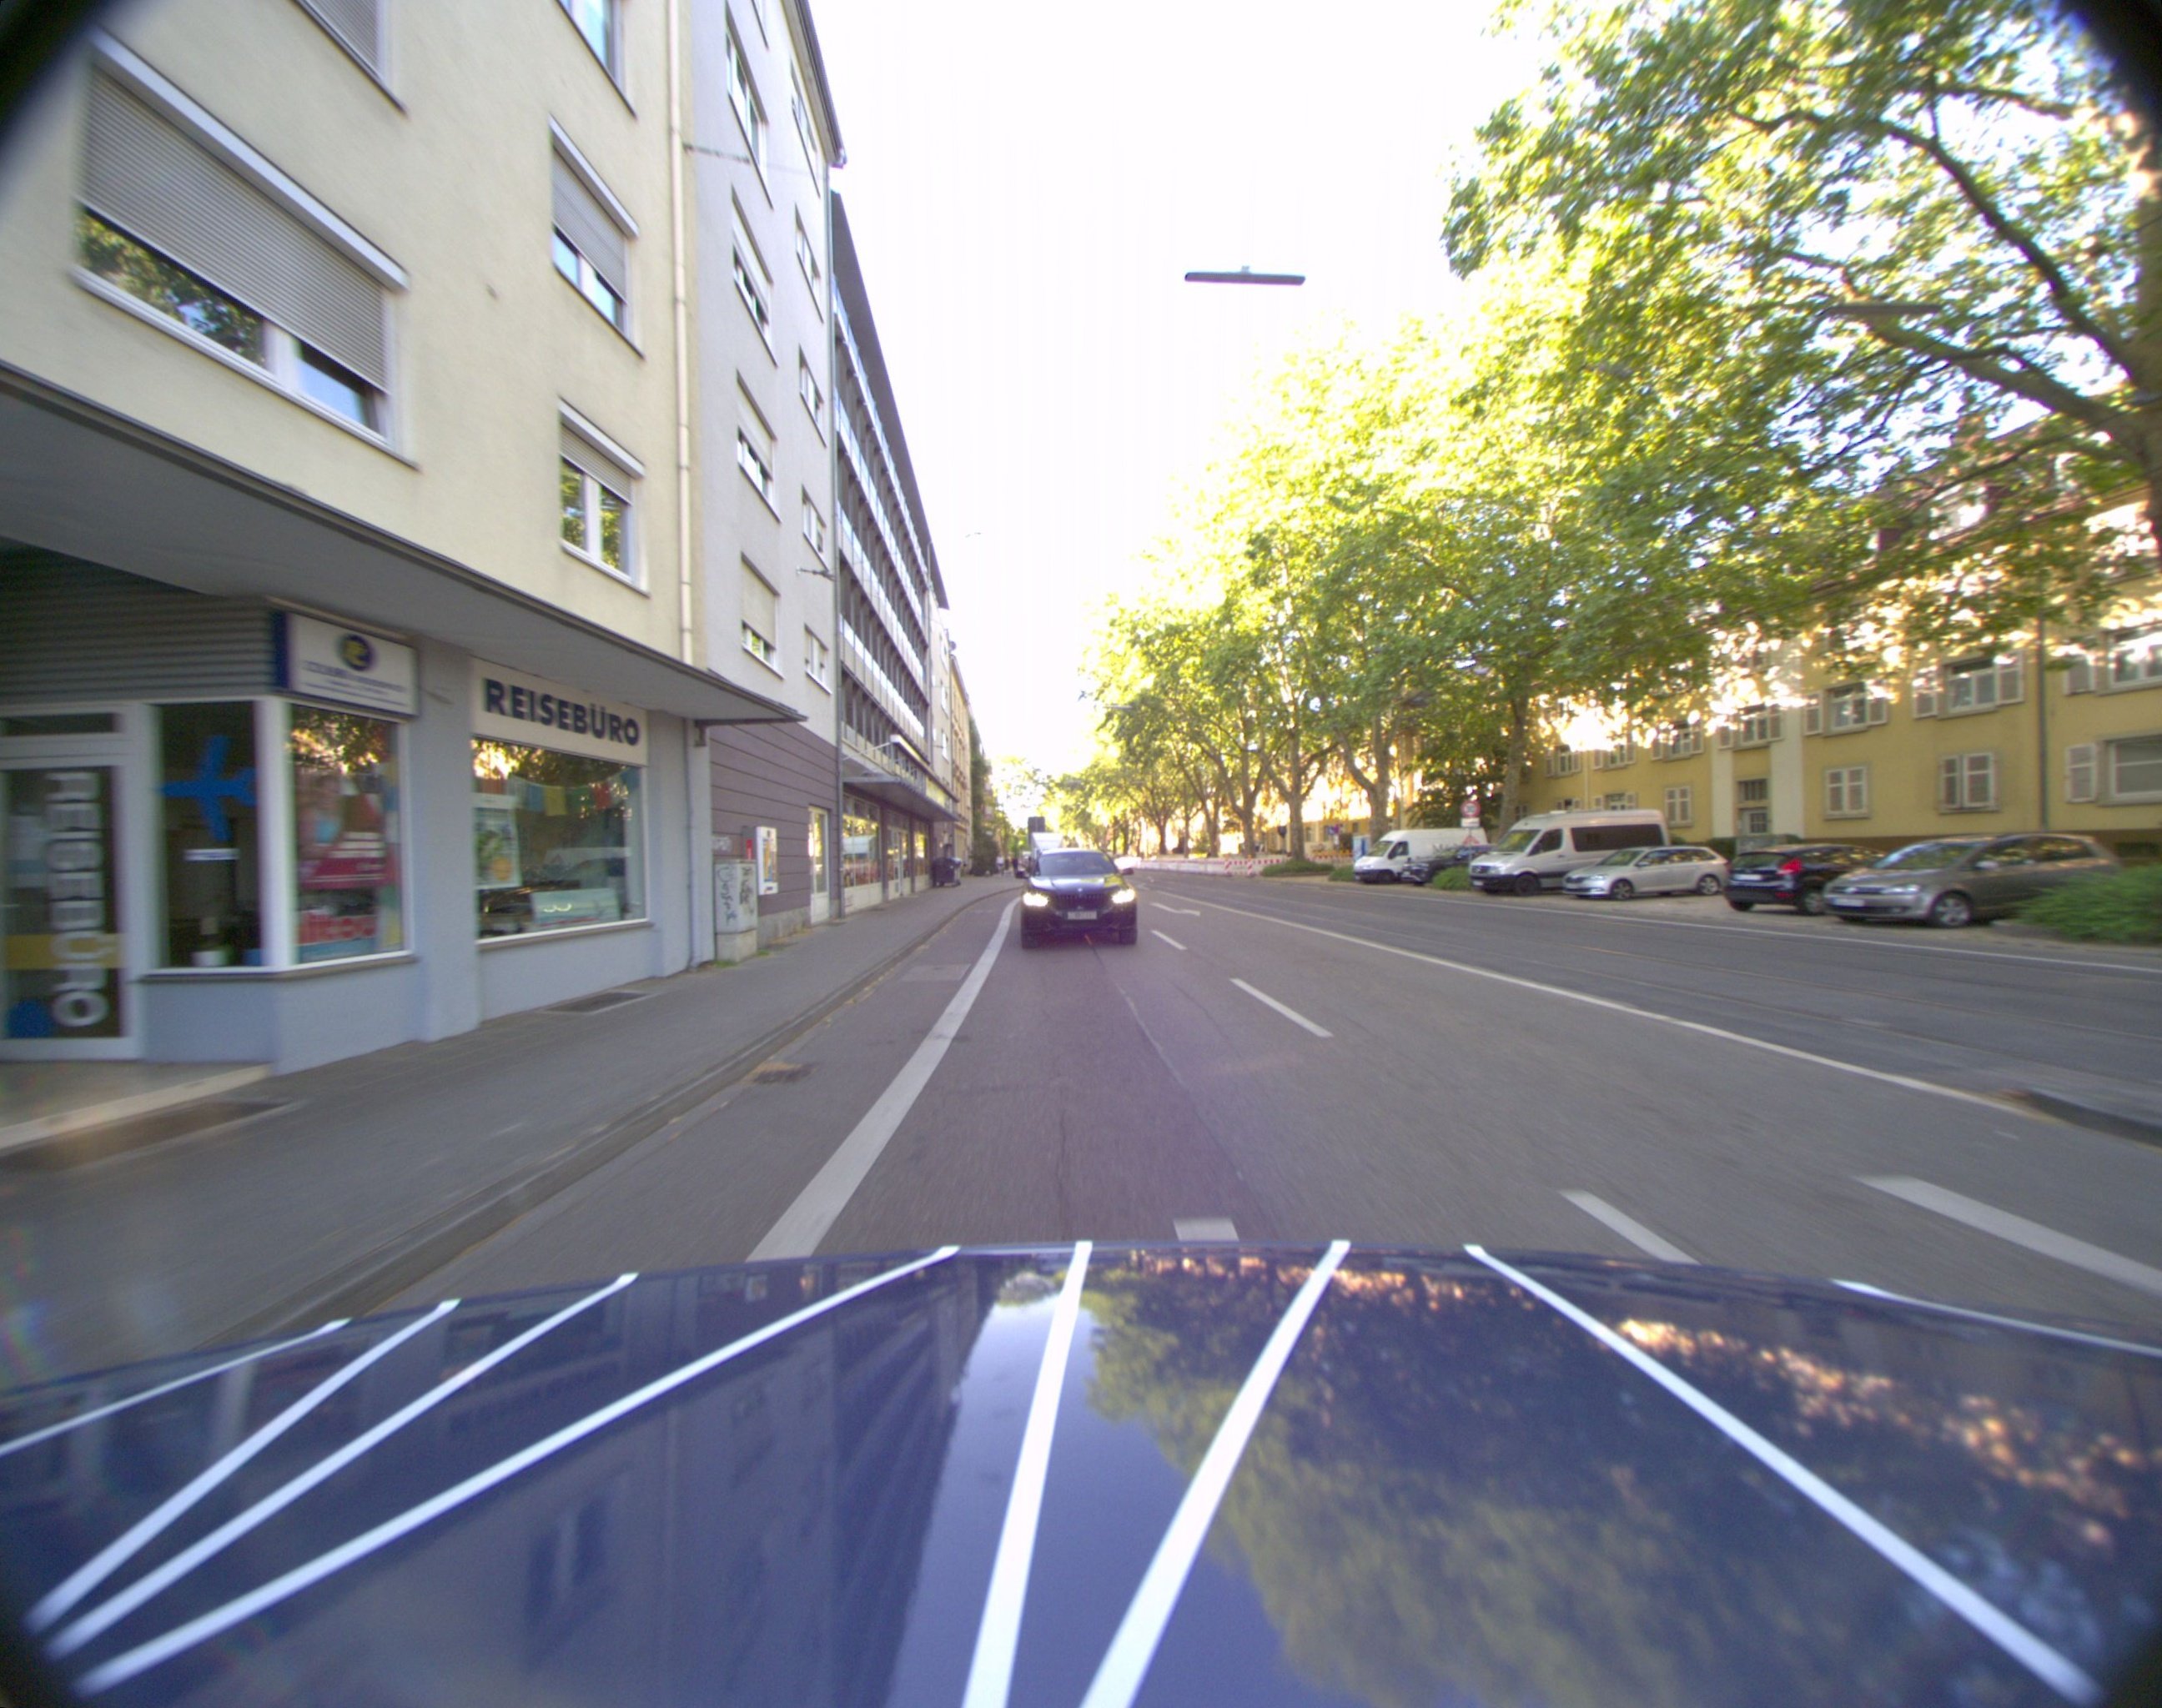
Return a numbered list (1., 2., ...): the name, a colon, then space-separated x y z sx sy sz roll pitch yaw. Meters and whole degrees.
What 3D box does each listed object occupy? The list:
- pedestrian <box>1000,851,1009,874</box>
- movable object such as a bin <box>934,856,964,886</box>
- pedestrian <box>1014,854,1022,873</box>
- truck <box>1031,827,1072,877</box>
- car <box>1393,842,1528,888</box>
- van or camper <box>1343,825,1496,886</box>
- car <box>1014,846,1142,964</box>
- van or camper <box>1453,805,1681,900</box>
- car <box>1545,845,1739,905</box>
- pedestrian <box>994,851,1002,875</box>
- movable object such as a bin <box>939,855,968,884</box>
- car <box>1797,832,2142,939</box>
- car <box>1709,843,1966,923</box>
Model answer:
1. pedestrian: -5.456 0.605 53.982 0.541 1.662 0.630 -1 1 -2
2. movable object such as a bin: -6.345 0.808 36.499 1.204 1.402 1.371 -1 0 -2
3. pedestrian: -4.865 0.738 58.372 0.541 1.437 0.630 -1 1 -2
4. truck: -2.083 -0.160 51.960 2.344 3.096 5.209 -3 1 -6
5. car: 15.142 0.414 30.465 4.540 1.624 1.693 -3 1 -1
6. van or camper: 14.890 0.039 33.602 5.764 2.371 2.155 -3 1 -3
7. car: -0.092 0.768 14.265 1.931 1.742 4.682 -3 1 -1
8. van or camper: 15.401 -0.077 24.274 5.933 2.633 2.155 -3 1 -3
9. car: 15.833 0.550 21.571 4.277 1.438 1.693 -3 1 -1
10. pedestrian: -6.122 0.660 56.099 0.541 1.712 0.630 -1 1 -2
11. movable object such as a bin: -6.451 0.778 38.495 1.204 1.402 1.371 -1 0 -2
12. car: 15.690 0.512 13.578 4.081 1.610 1.844 -3 1 -1
13. car: 16.079 0.574 16.272 3.861 1.438 1.693 -3 1 -1
